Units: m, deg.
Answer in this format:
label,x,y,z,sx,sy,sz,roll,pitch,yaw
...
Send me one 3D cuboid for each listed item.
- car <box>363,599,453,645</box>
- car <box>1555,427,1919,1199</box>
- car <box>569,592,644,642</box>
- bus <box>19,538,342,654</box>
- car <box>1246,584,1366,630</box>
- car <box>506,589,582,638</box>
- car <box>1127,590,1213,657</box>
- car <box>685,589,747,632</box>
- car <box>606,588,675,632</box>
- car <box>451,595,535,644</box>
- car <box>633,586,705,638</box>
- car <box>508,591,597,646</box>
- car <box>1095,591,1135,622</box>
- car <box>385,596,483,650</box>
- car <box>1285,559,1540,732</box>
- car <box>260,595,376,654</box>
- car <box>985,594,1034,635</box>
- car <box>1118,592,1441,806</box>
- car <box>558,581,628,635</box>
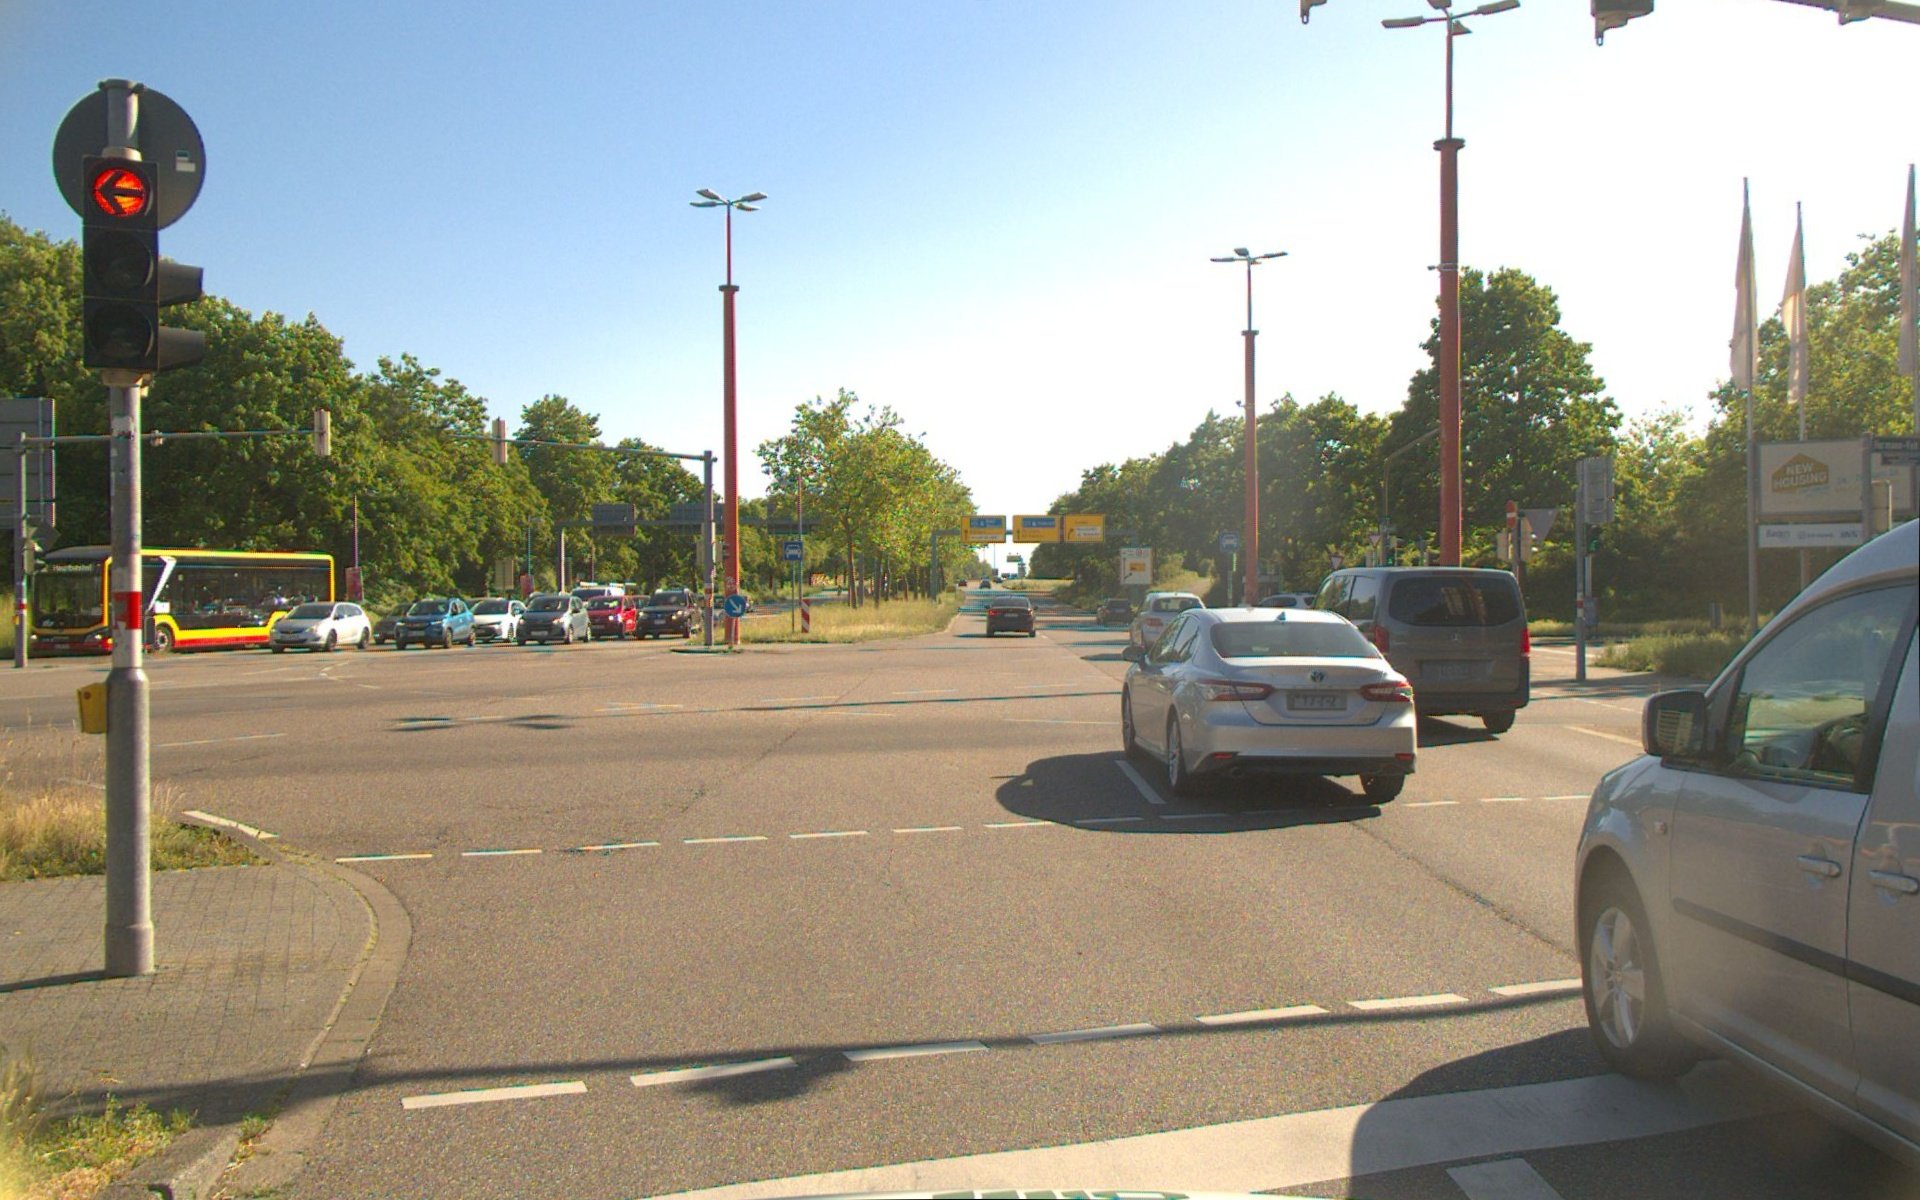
label,x,y,z,sx,sy,sz,roll,pitch,yaw
car,-19.895,0.775,59.790,1.846,1.539,4.000,-1,0,0
car,3.017,0.547,3.697,1.767,1.853,4.587,0,0,1
car,-12.453,0.583,58.427,1.838,1.579,3.998,-3,0,-2
bus,-24.778,-0.083,53.801,2.589,3.318,12.546,1,0,10
car,12.885,0.237,61.779,1.753,1.664,4.235,0,0,-40
car,-15.929,0.496,63.518,1.835,1.815,4.000,-1,0,1
car,5.343,0.585,42.512,1.681,1.636,3.846,1,0,-1
car,-9.357,0.375,63.694,1.847,1.570,3.999,-2,0,-1
car,-12.412,0.367,64.427,1.862,1.658,4.000,0,0,1
car,-16.039,0.663,57.024,1.863,1.582,3.998,-1,0,-2
car,-9.845,0.385,56.207,1.757,1.654,4.142,-2,0,-2
car,-12.776,0.552,52.084,1.836,1.577,4.027,-2,1,-1
car,8.538,0.361,91.369,1.728,1.664,4.297,1,0,-1
car,-16.111,0.683,50.872,1.764,1.542,3.858,-2,0,0
car,5.499,0.487,20.811,1.767,1.884,5.102,-1,0,0
car,-19.549,0.737,50.537,1.838,1.681,4.219,-1,0,0
car,1.823,0.530,61.327,1.727,1.466,4.295,1,0,1
car,2.534,0.725,14.267,1.768,1.519,4.681,1,0,-1
car,-15.628,0.331,70.583,1.922,2.193,5.080,-1,0,-1
